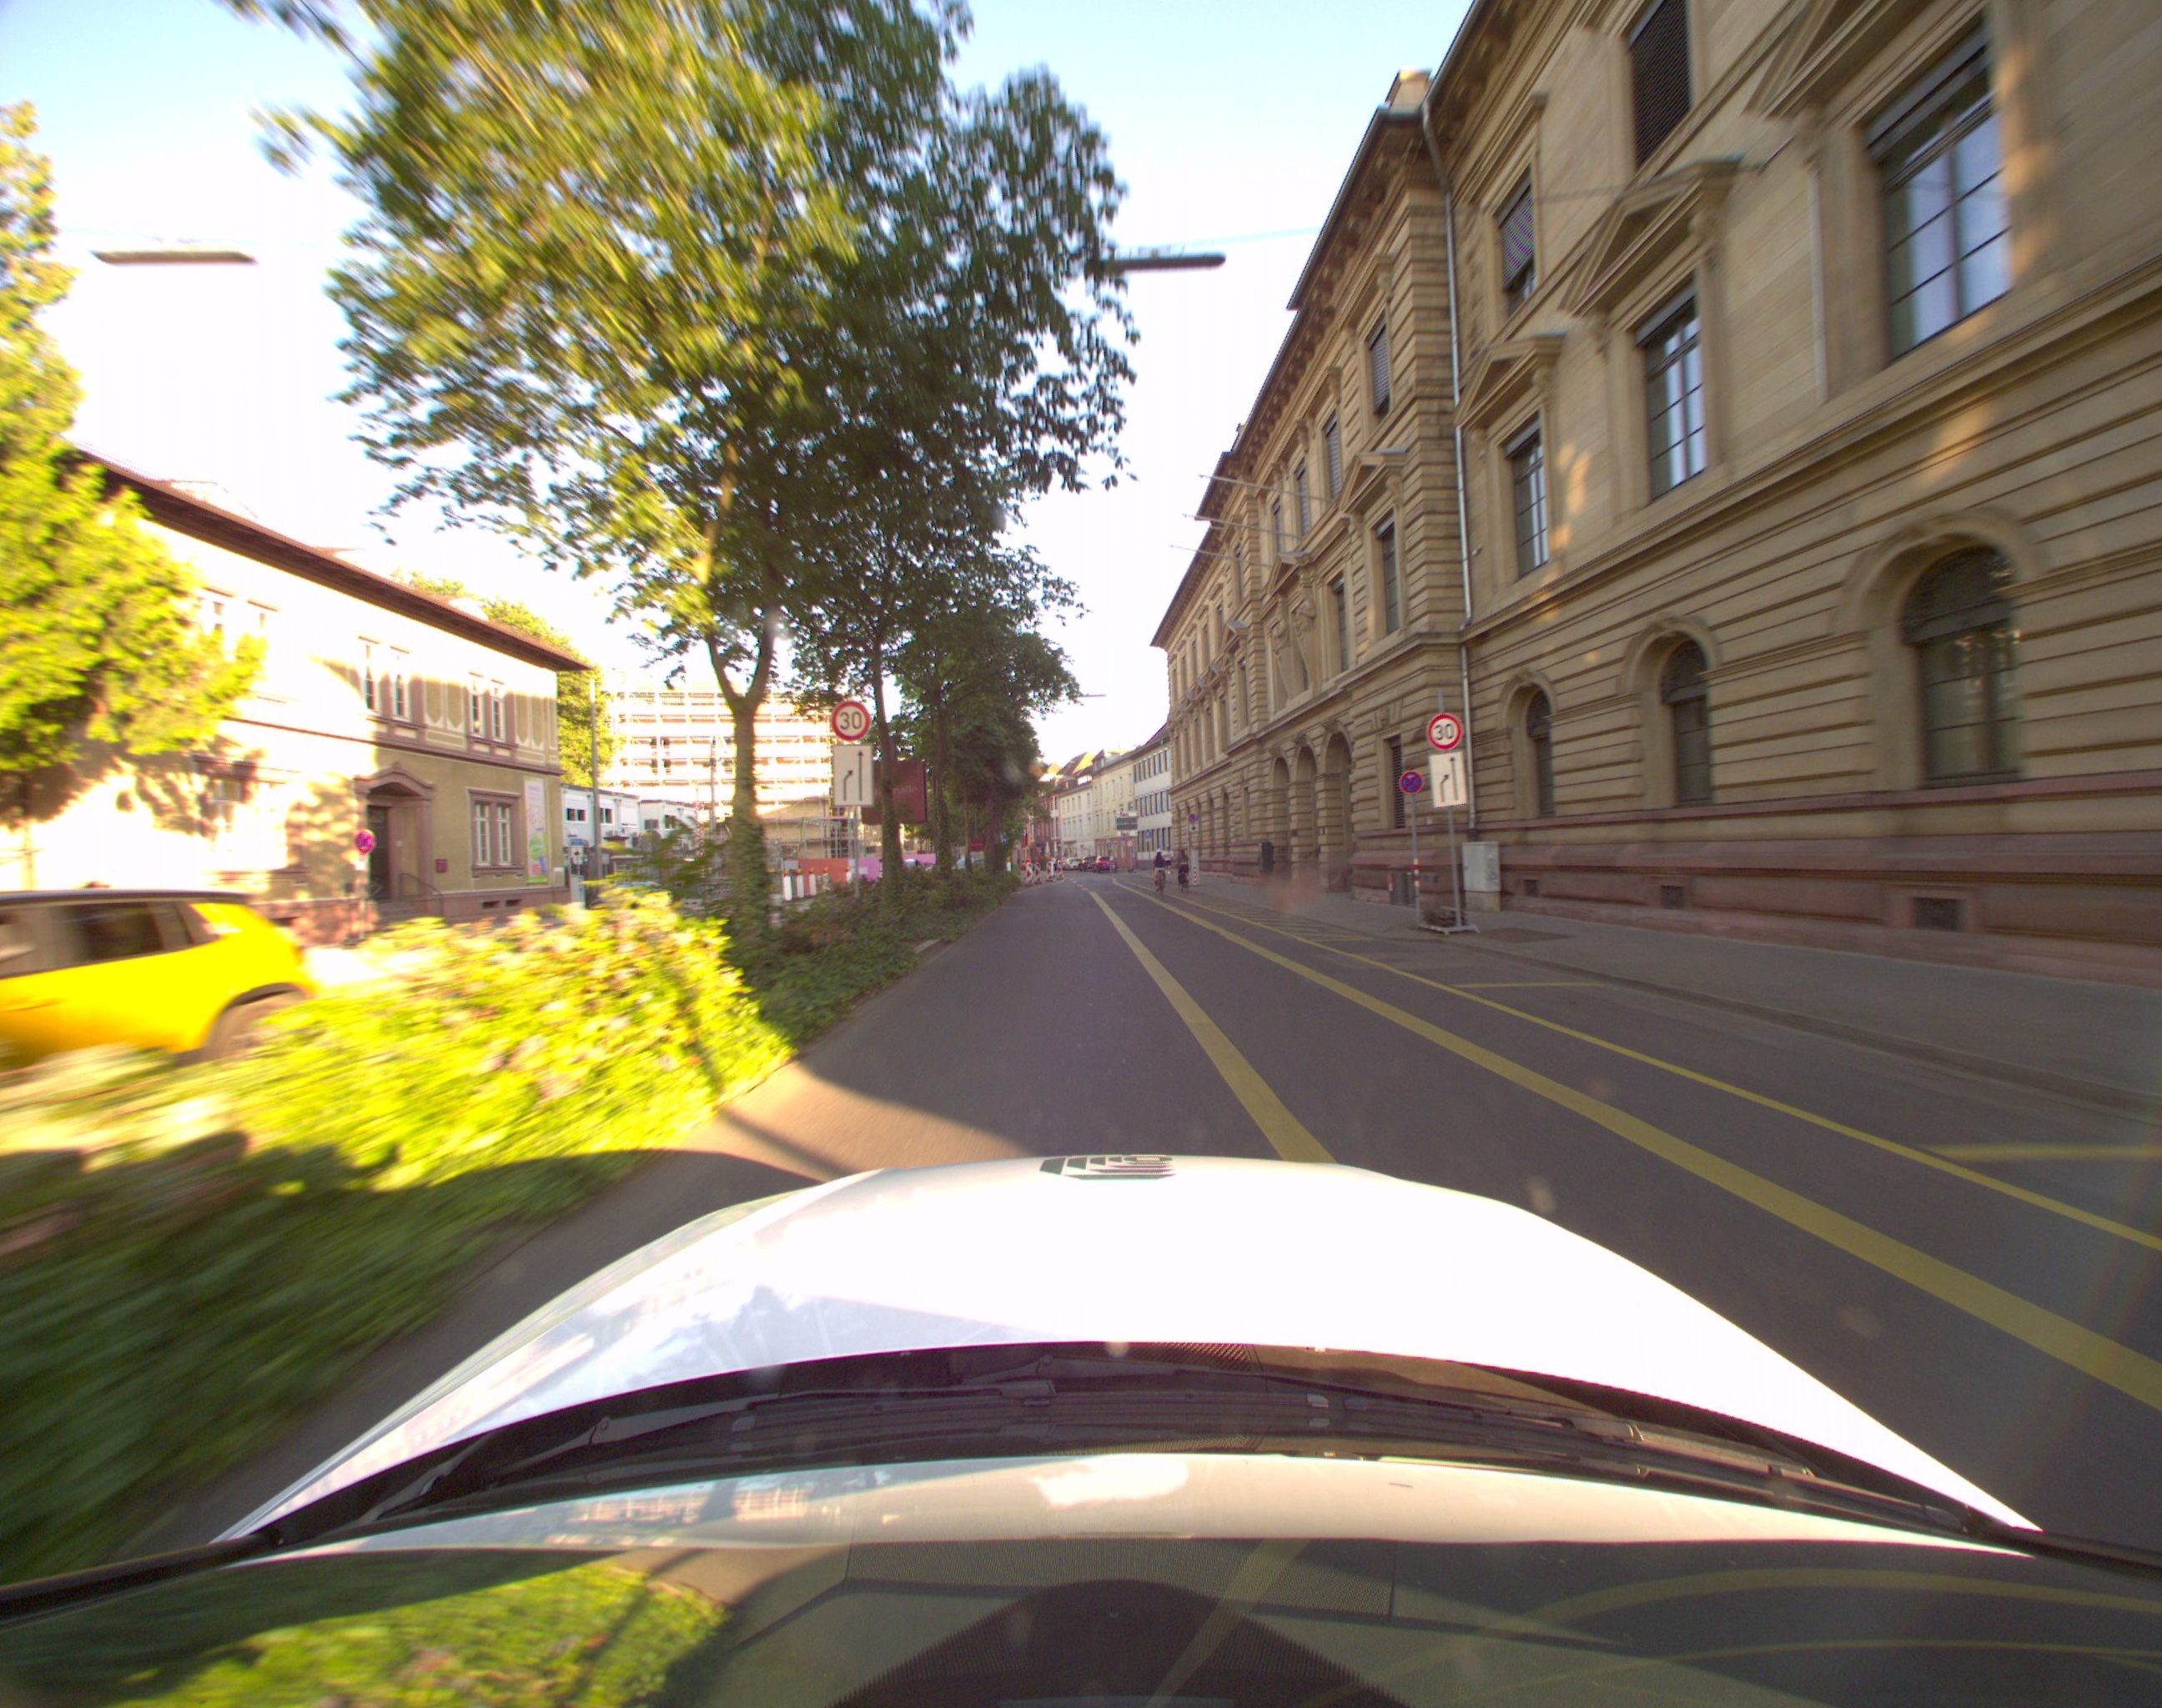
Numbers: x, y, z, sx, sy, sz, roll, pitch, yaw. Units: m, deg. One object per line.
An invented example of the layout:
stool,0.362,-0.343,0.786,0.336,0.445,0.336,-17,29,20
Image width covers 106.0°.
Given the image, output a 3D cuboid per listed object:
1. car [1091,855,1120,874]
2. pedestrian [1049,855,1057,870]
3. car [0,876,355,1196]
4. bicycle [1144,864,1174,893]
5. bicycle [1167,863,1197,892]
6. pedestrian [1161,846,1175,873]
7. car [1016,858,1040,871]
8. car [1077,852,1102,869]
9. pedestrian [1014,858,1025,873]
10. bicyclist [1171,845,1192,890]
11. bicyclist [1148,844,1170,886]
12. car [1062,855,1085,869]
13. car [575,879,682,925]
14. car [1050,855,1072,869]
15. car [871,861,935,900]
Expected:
car,2.338,1.036,79.225,1.814,1.682,3.902,-2,0,-13
pedestrian,-3.420,1.030,99.342,0.827,1.844,0.958,-1,0,2
car,-6.357,0.981,4.070,1.841,1.547,4.113,-3,0,-4
bicycle,2.946,0.908,30.865,0.669,1.071,1.895,-1,-1,-9
bicycle,3.985,0.916,32.362,0.652,1.071,2.253,0,-1,-7
pedestrian,5.823,0.367,54.598,0.813,1.765,1.038,-1,0,2
car,-6.769,1.296,103.991,1.821,1.560,3.833,-2,0,-24
car,0.902,0.743,87.139,1.814,1.684,3.982,-2,0,-13
pedestrian,-6.659,1.251,88.343,0.728,1.674,0.900,-2,-1,24
bicyclist,3.984,0.528,32.343,0.649,1.760,0.862,0,0,-7
bicyclist,2.946,0.428,30.857,0.668,1.566,0.696,0,-1,-9
car,-0.870,0.971,95.302,1.815,1.560,3.846,-2,0,-14
car,-16.448,1.704,29.819,1.675,1.351,3.885,-4,0,-1
car,-2.462,0.979,99.577,1.815,1.560,3.846,-2,0,-14
car,-8.730,1.243,40.300,1.835,1.674,4.560,-4,0,3
